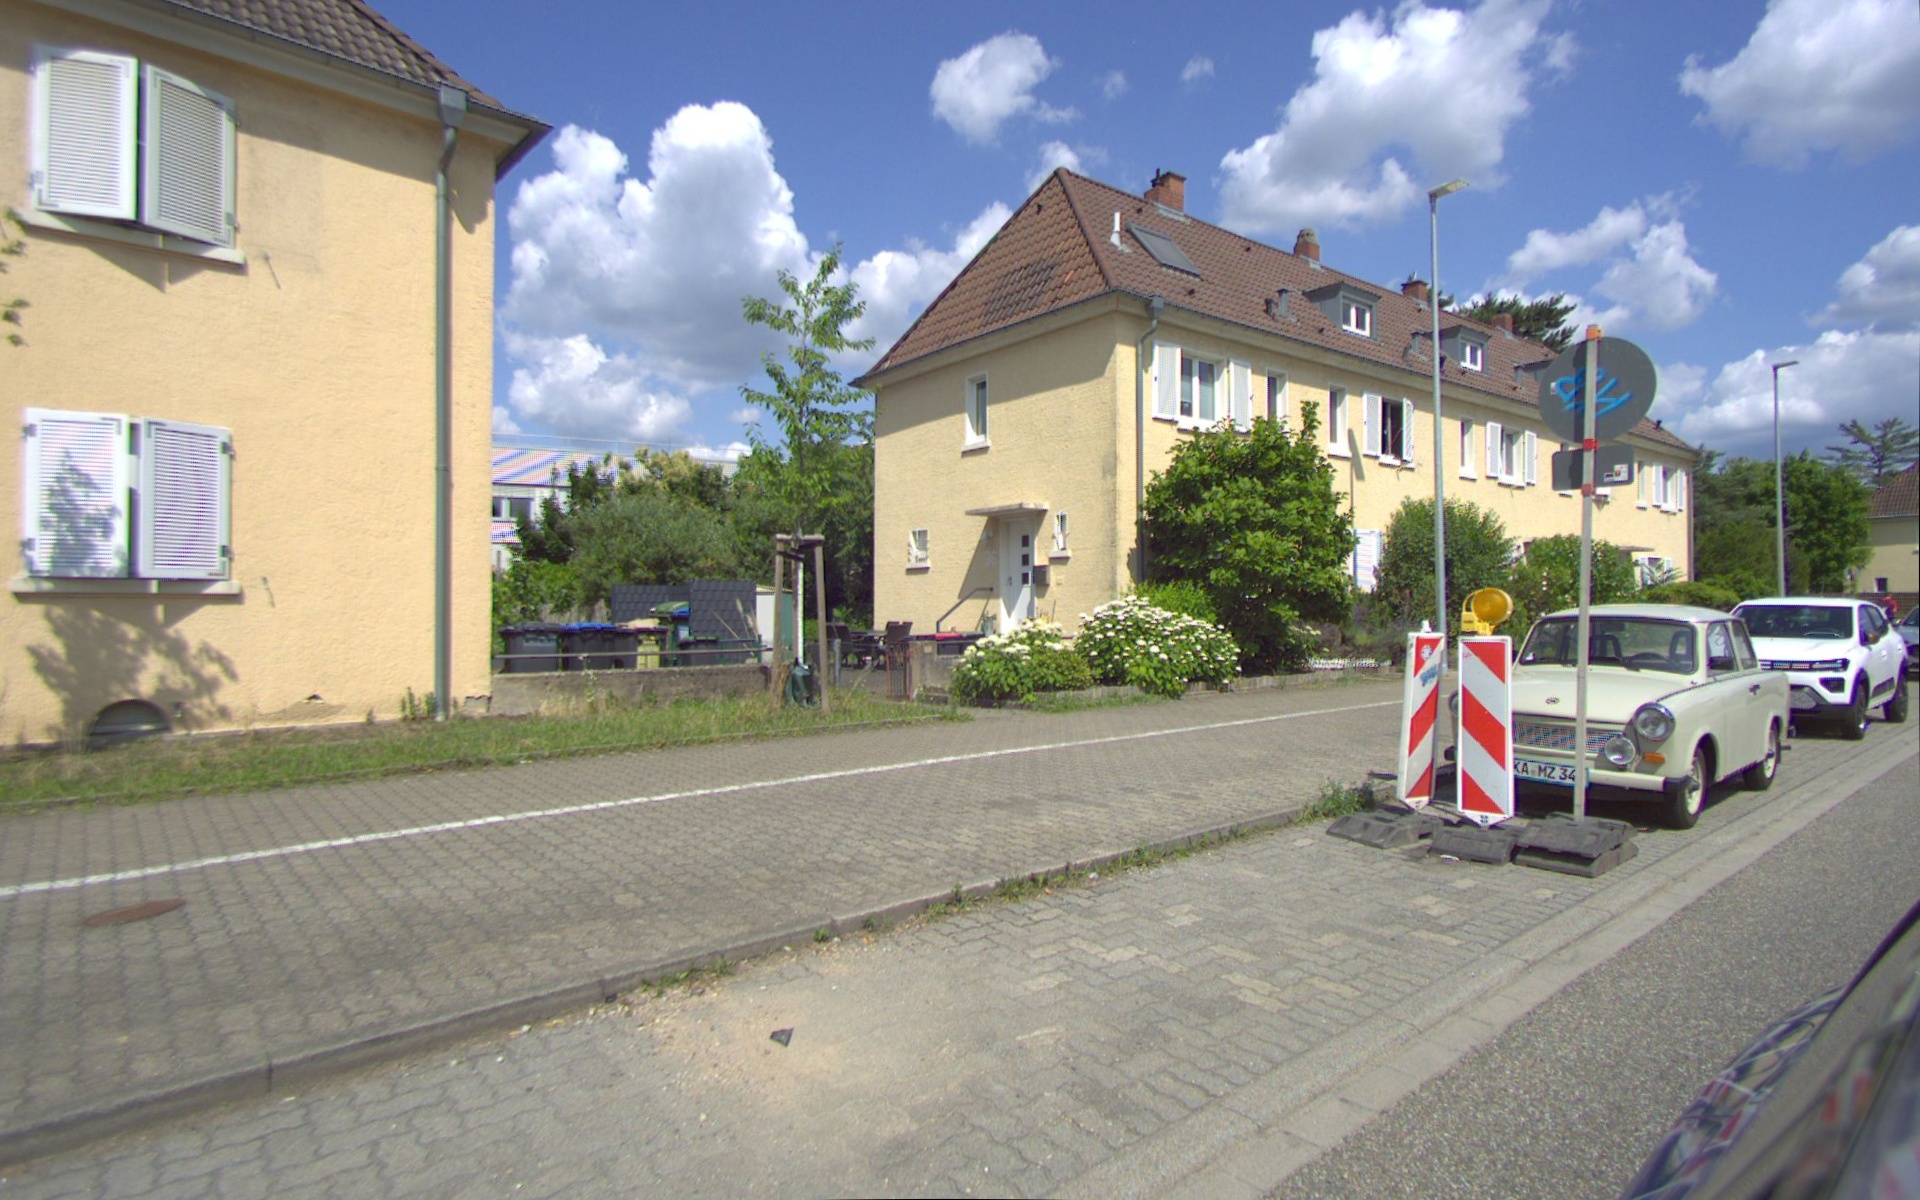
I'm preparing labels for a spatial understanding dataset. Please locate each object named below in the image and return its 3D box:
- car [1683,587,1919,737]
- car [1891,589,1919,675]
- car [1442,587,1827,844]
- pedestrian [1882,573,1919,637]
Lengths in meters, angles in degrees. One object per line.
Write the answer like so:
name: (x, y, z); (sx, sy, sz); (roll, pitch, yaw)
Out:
car: (10.050, 0.617, 11.904); (3.740, 1.500, 1.531); (0, 0, -38)
car: (18.958, 0.582, 18.805); (4.305, 1.516, 1.754); (1, 0, -38)
car: (5.397, 0.679, 7.881); (4.037, 1.521, 1.466); (0, 0, -41)
pedestrian: (30.631, 0.169, 32.929); (0.747, 2.039, 0.775); (1, -1, -36)
